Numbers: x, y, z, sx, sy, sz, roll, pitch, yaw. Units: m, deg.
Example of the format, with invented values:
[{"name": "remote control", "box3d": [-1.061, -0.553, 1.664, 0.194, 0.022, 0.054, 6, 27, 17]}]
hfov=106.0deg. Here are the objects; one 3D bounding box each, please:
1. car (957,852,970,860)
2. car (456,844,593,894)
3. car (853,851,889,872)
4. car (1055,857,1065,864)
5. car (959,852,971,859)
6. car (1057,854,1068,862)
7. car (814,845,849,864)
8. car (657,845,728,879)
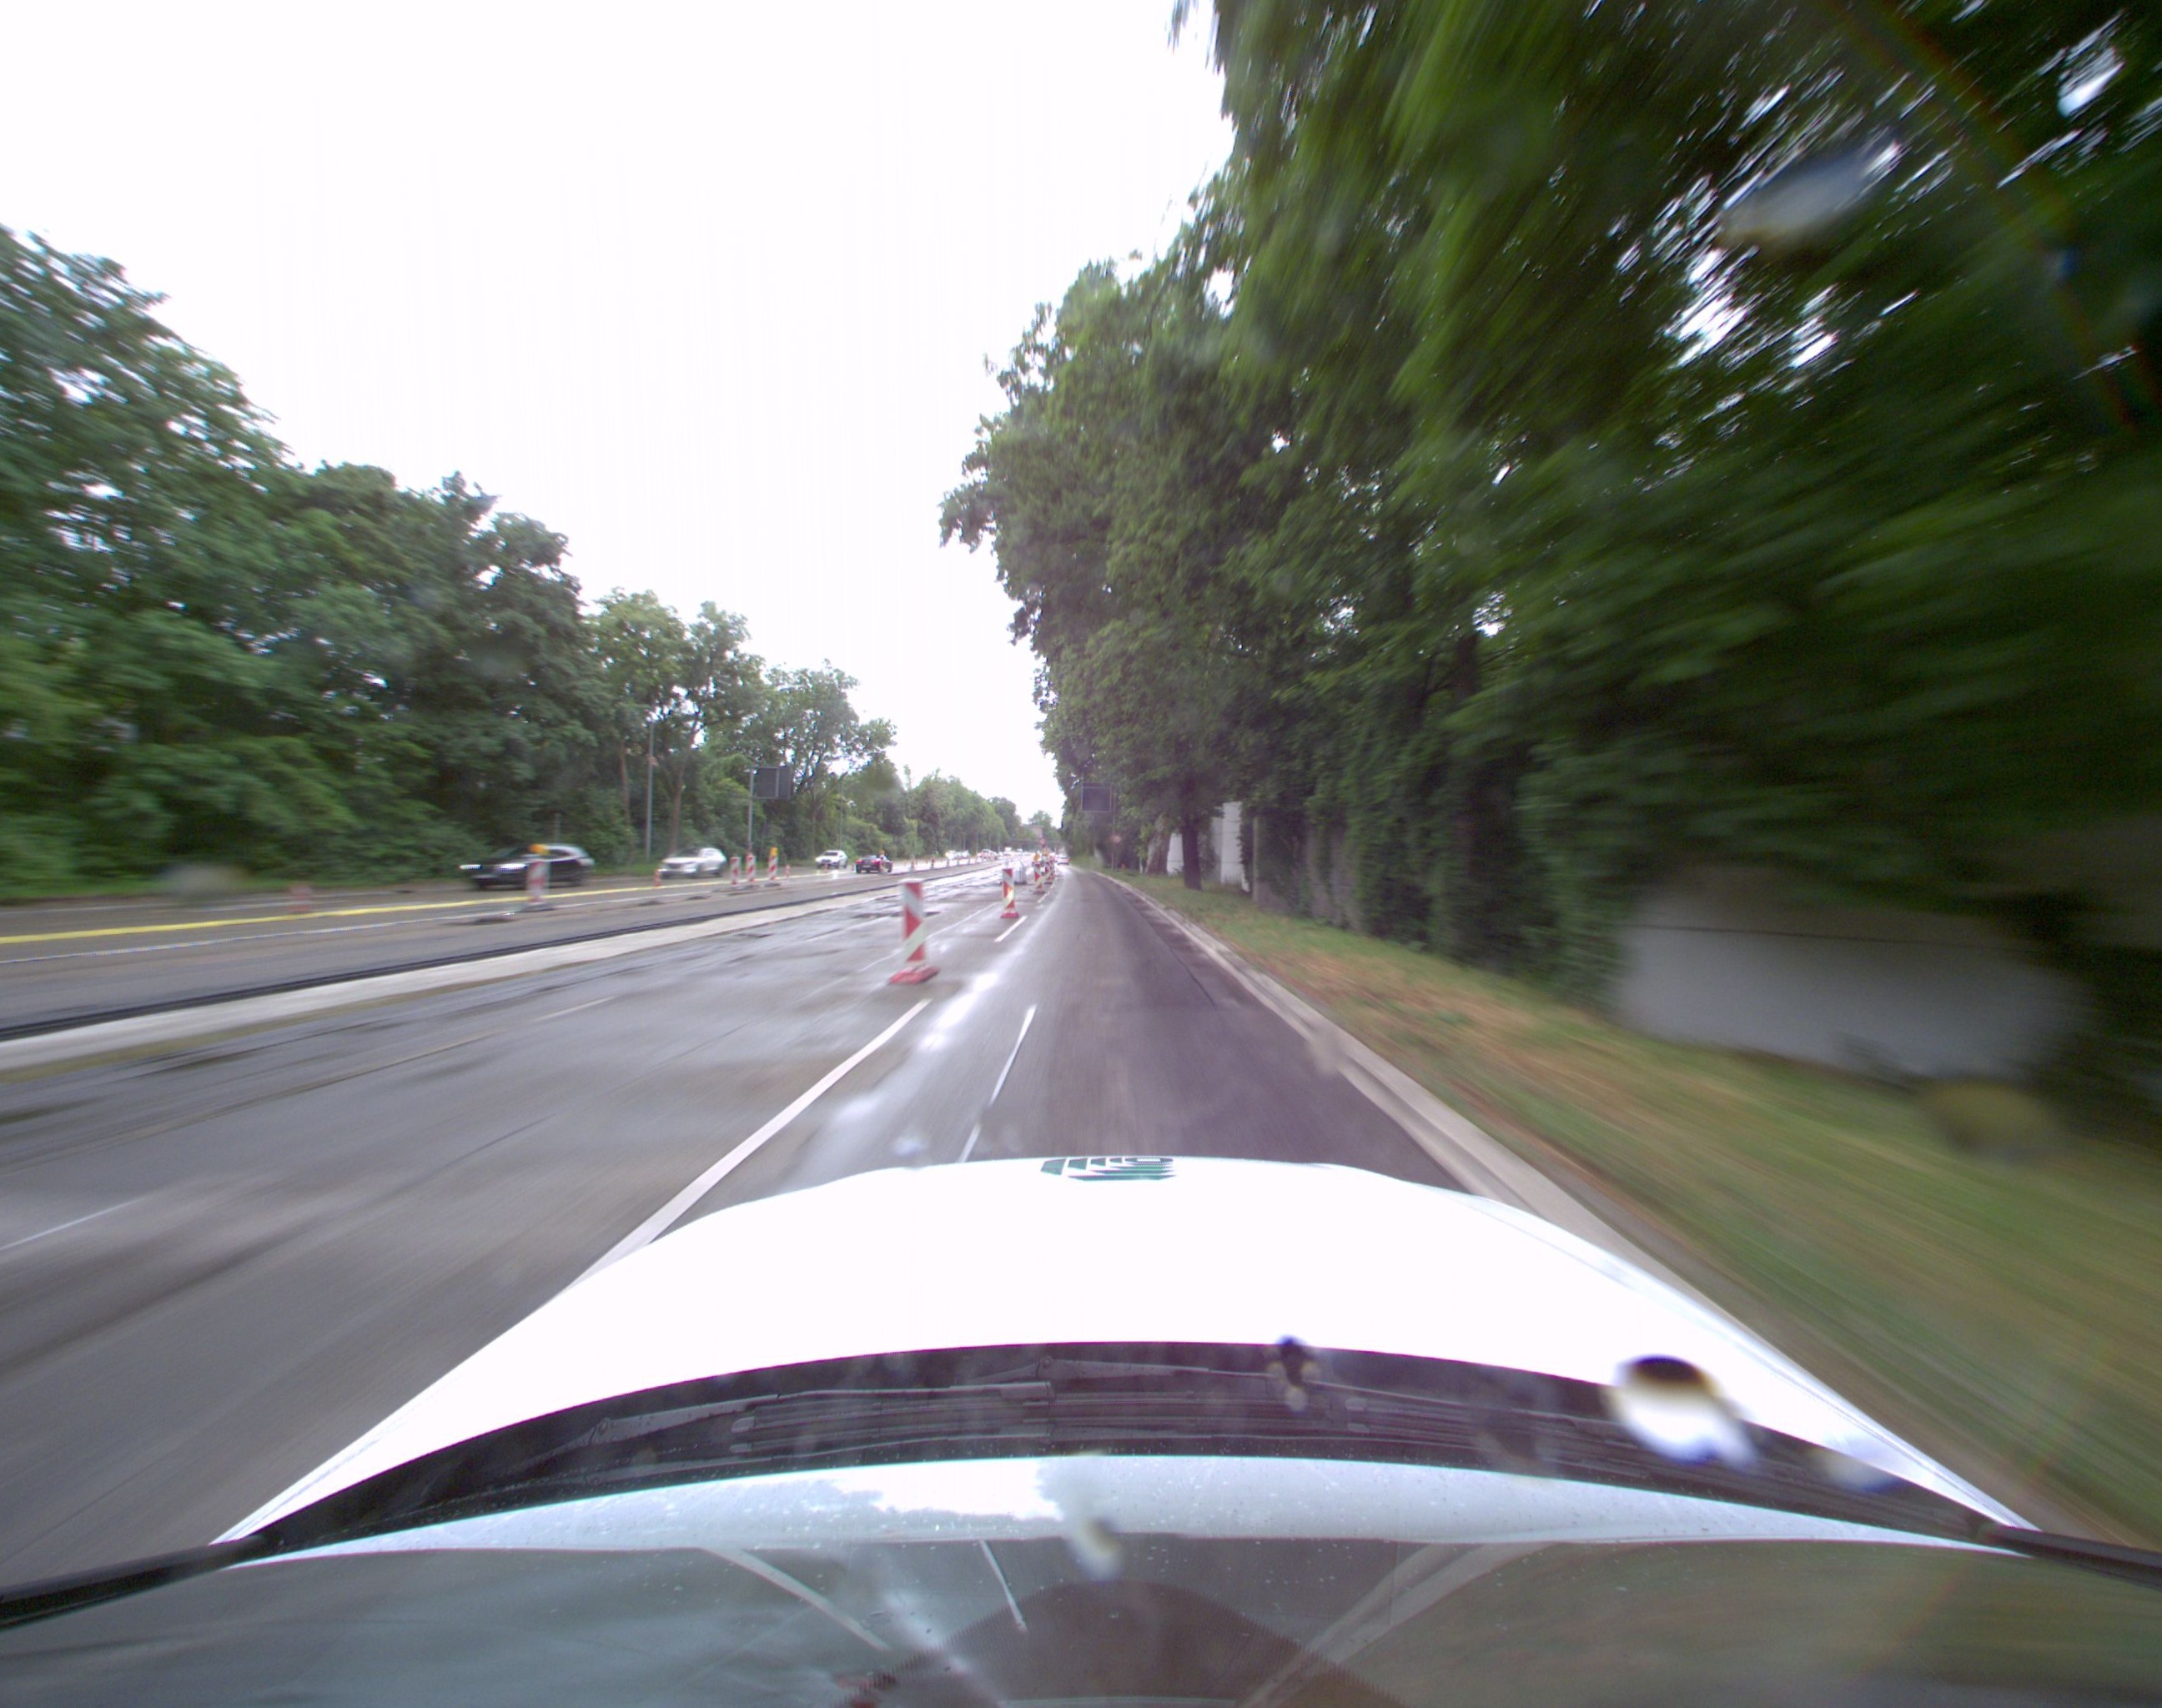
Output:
[{"name": "car", "box3d": [-21.148, 0.366, 146.420, 1.813, 1.355, 4.386, -1, 0, -2]}, {"name": "car", "box3d": [-20.507, 0.512, 30.302, 1.772, 1.663, 4.912, -1, 0, -2]}, {"name": "car", "box3d": [-15.099, 0.500, 58.669, 1.603, 1.404, 4.038, 1, 0, -2]}, {"name": "car", "box3d": [-4.331, 1.393, 167.732, 1.851, 1.433, 3.727, 0, -1, -3]}, {"name": "car", "box3d": [-21.579, 0.298, 151.495, 1.813, 1.355, 4.201, -1, 0, -2]}, {"name": "car", "box3d": [-2.958, 0.627, 132.639, 1.693, 1.336, 3.488, -1, 0, -2]}, {"name": "car", "box3d": [-21.340, 0.074, 69.747, 1.661, 1.541, 4.156, -2, 0, -1]}, {"name": "car", "box3d": [-20.769, 0.406, 43.717, 1.772, 1.751, 4.377, 0, 0, -2]}]
